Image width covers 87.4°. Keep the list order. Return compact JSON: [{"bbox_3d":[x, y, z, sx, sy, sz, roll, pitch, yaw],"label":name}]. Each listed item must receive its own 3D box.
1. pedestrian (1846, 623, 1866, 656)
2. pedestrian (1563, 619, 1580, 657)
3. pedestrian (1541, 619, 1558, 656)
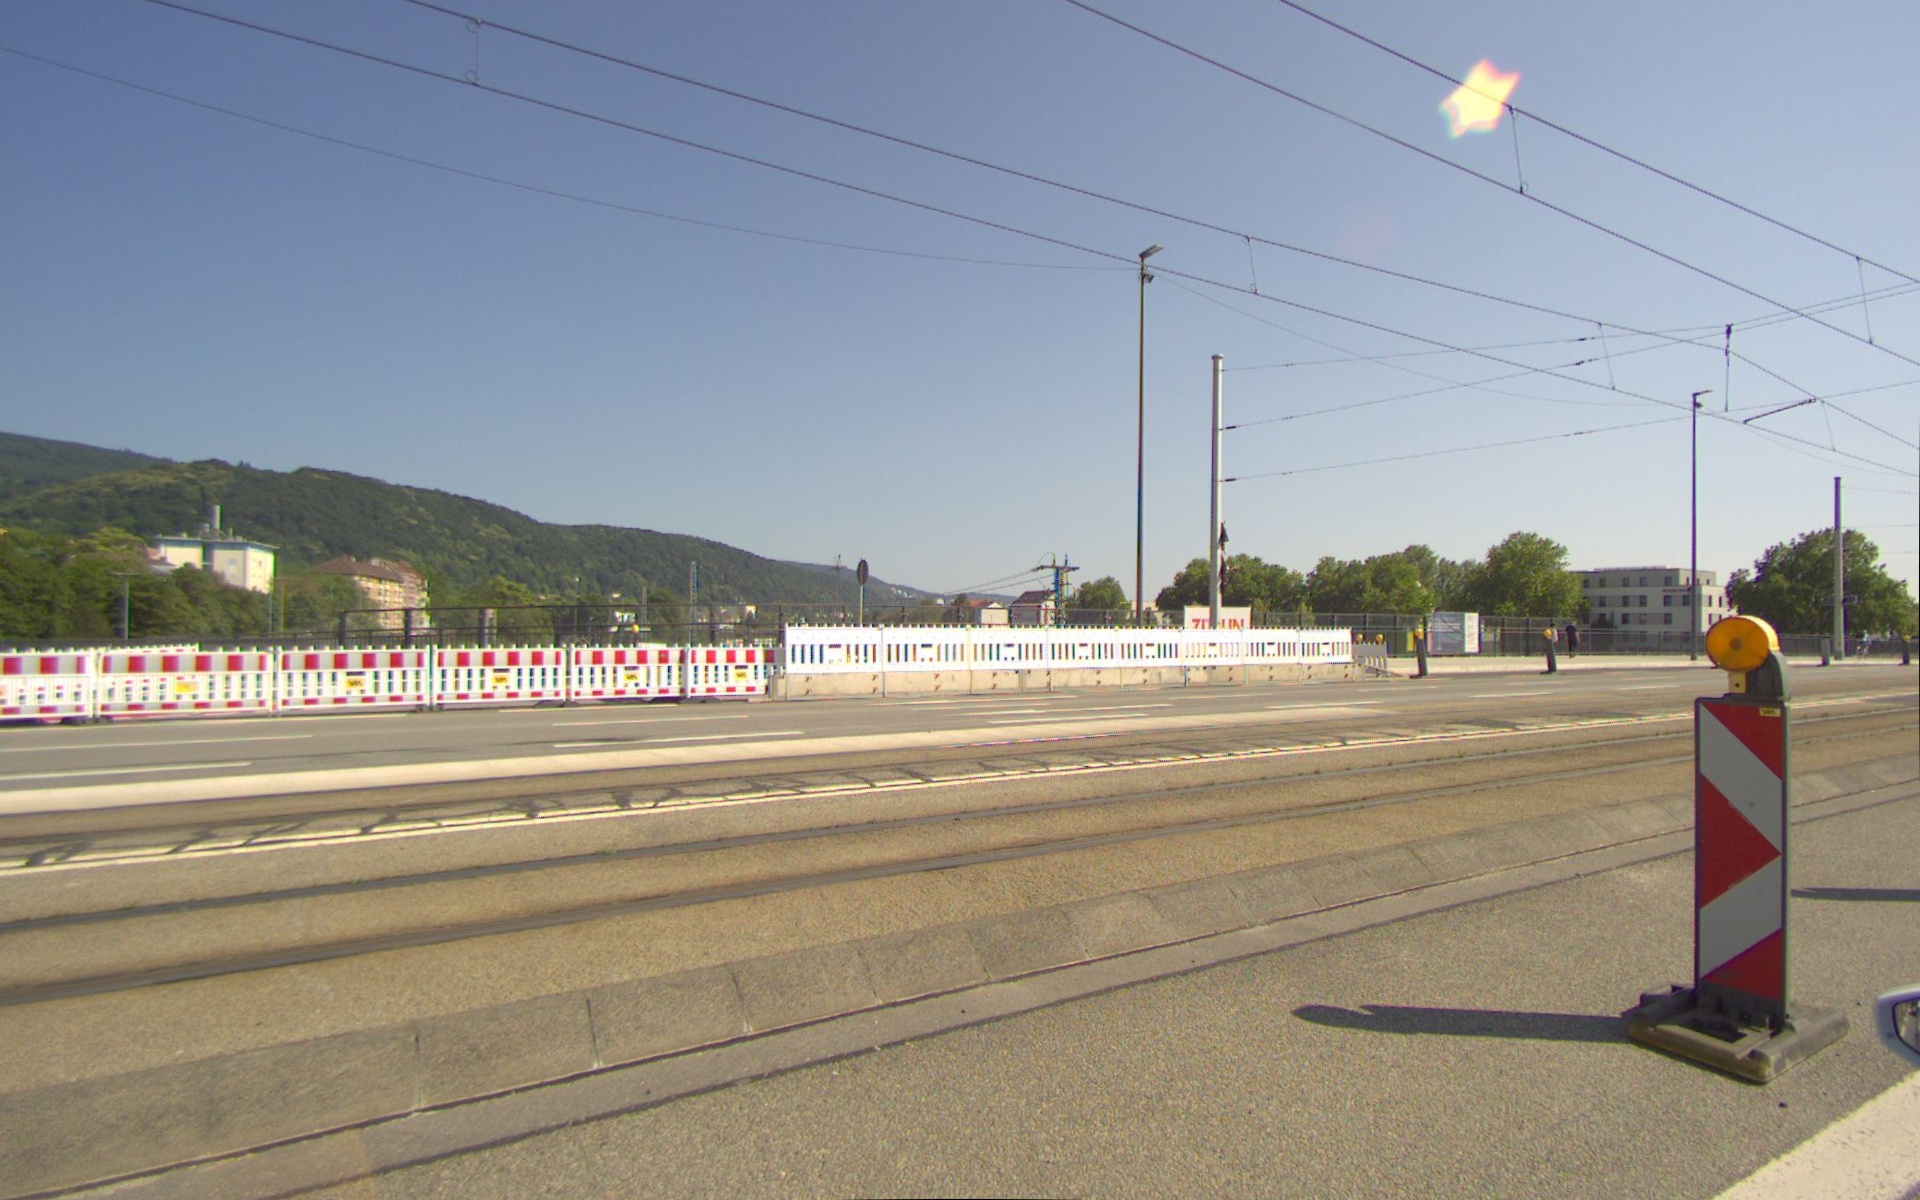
[{"bbox_3d":[52.399,2.283,58.739,0.743,1.919,0.631,1,0,-31],"label":"pedestrian"},{"bbox_3d":[28.289,1.769,46.482,0.468,1.717,0.493,2,0,-31],"label":"pedestrian"},{"bbox_3d":[27.806,1.774,47.372,0.468,1.717,0.493,2,0,-31],"label":"pedestrian"}]
